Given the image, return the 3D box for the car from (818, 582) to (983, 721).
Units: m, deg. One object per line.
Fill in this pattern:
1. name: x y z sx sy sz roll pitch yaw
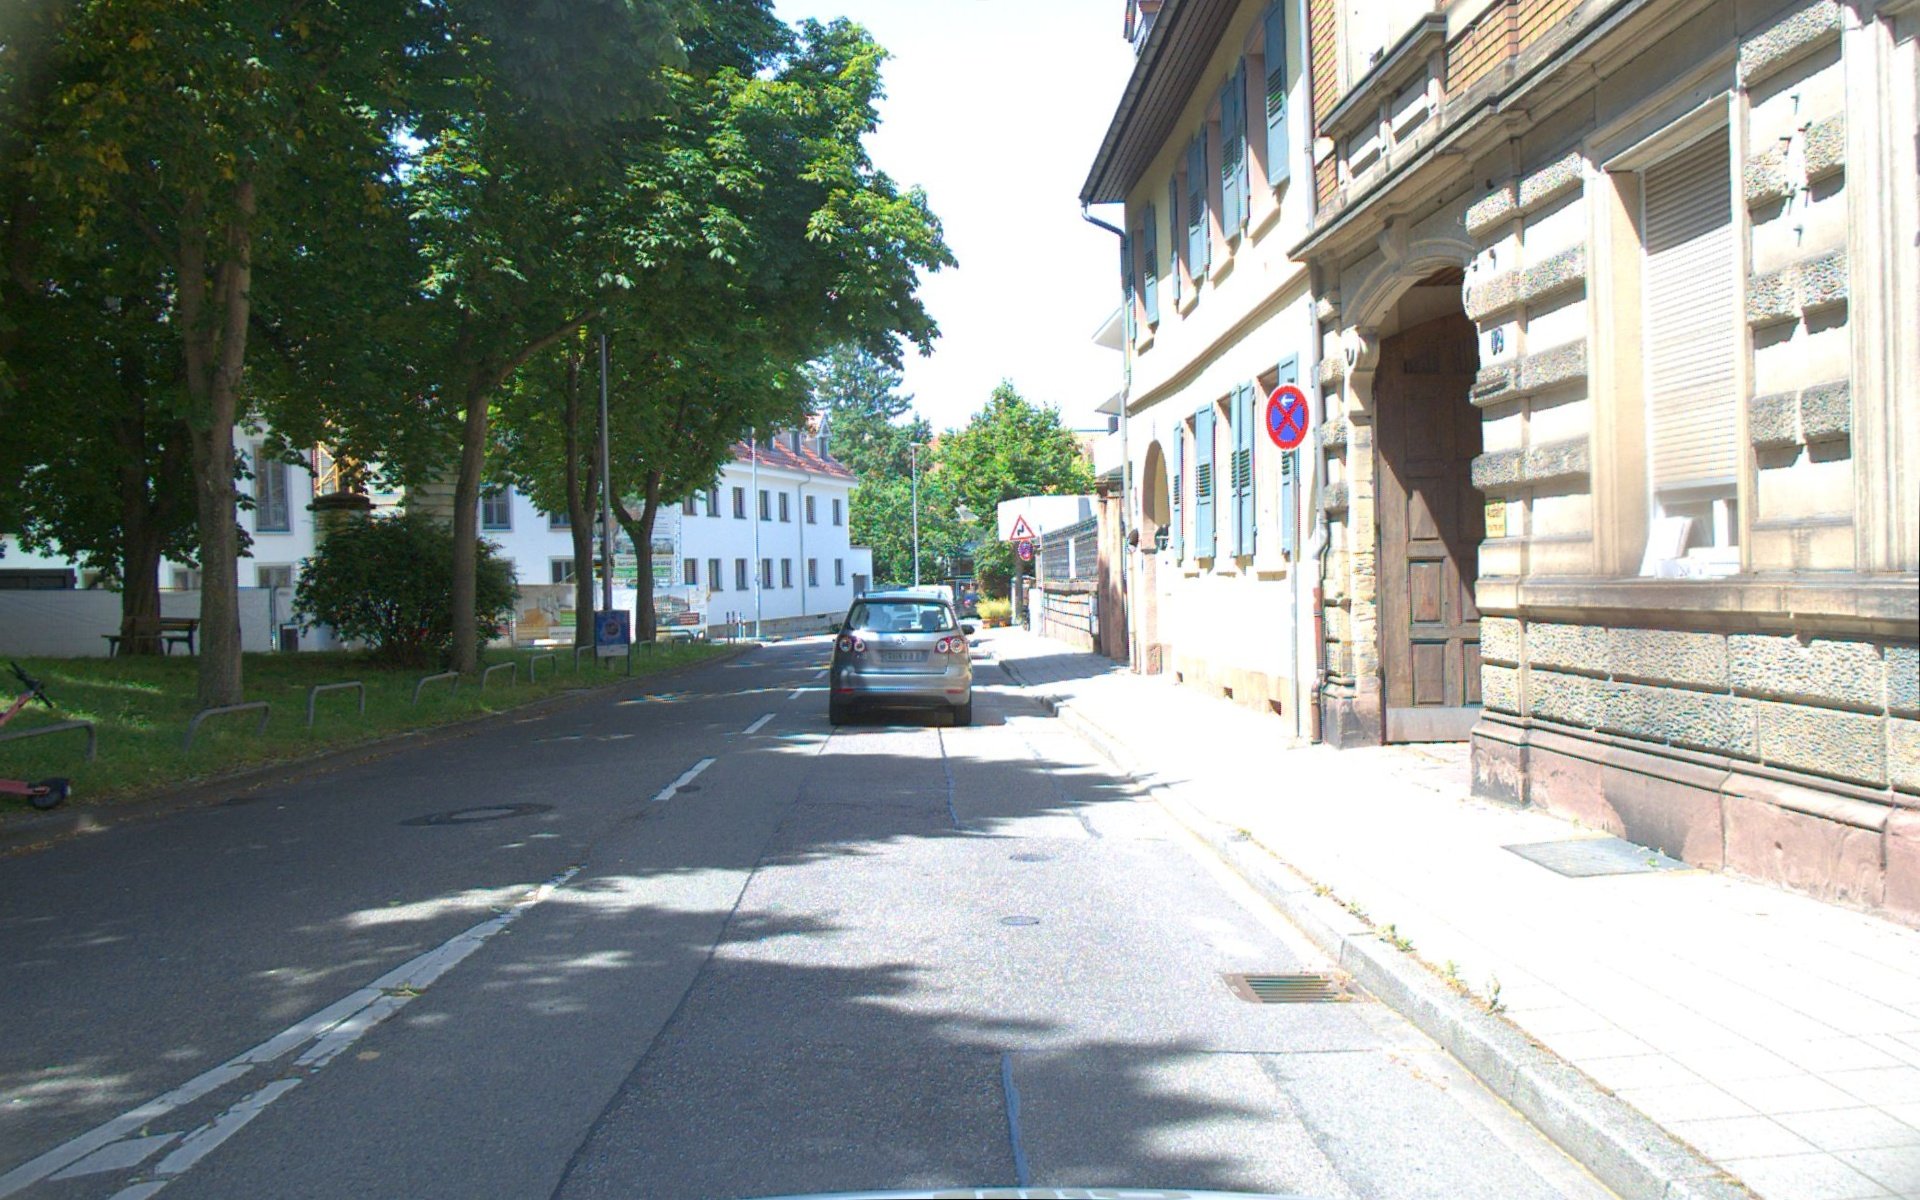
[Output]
1. car: -0.660 0.591 21.016 1.864 1.560 4.243 -1 0 0

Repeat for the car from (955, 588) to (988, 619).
1. car: 0.595 0.166 89.385 1.614 1.601 3.638 -1 1 -1

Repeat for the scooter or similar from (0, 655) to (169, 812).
1. scooter or similar: -7.323 1.036 13.229 1.247 1.008 1.450 6 0 -4

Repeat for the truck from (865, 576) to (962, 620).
1. truck: -2.396 -0.119 84.693 4.704 2.049 2.142 -2 0 -9
